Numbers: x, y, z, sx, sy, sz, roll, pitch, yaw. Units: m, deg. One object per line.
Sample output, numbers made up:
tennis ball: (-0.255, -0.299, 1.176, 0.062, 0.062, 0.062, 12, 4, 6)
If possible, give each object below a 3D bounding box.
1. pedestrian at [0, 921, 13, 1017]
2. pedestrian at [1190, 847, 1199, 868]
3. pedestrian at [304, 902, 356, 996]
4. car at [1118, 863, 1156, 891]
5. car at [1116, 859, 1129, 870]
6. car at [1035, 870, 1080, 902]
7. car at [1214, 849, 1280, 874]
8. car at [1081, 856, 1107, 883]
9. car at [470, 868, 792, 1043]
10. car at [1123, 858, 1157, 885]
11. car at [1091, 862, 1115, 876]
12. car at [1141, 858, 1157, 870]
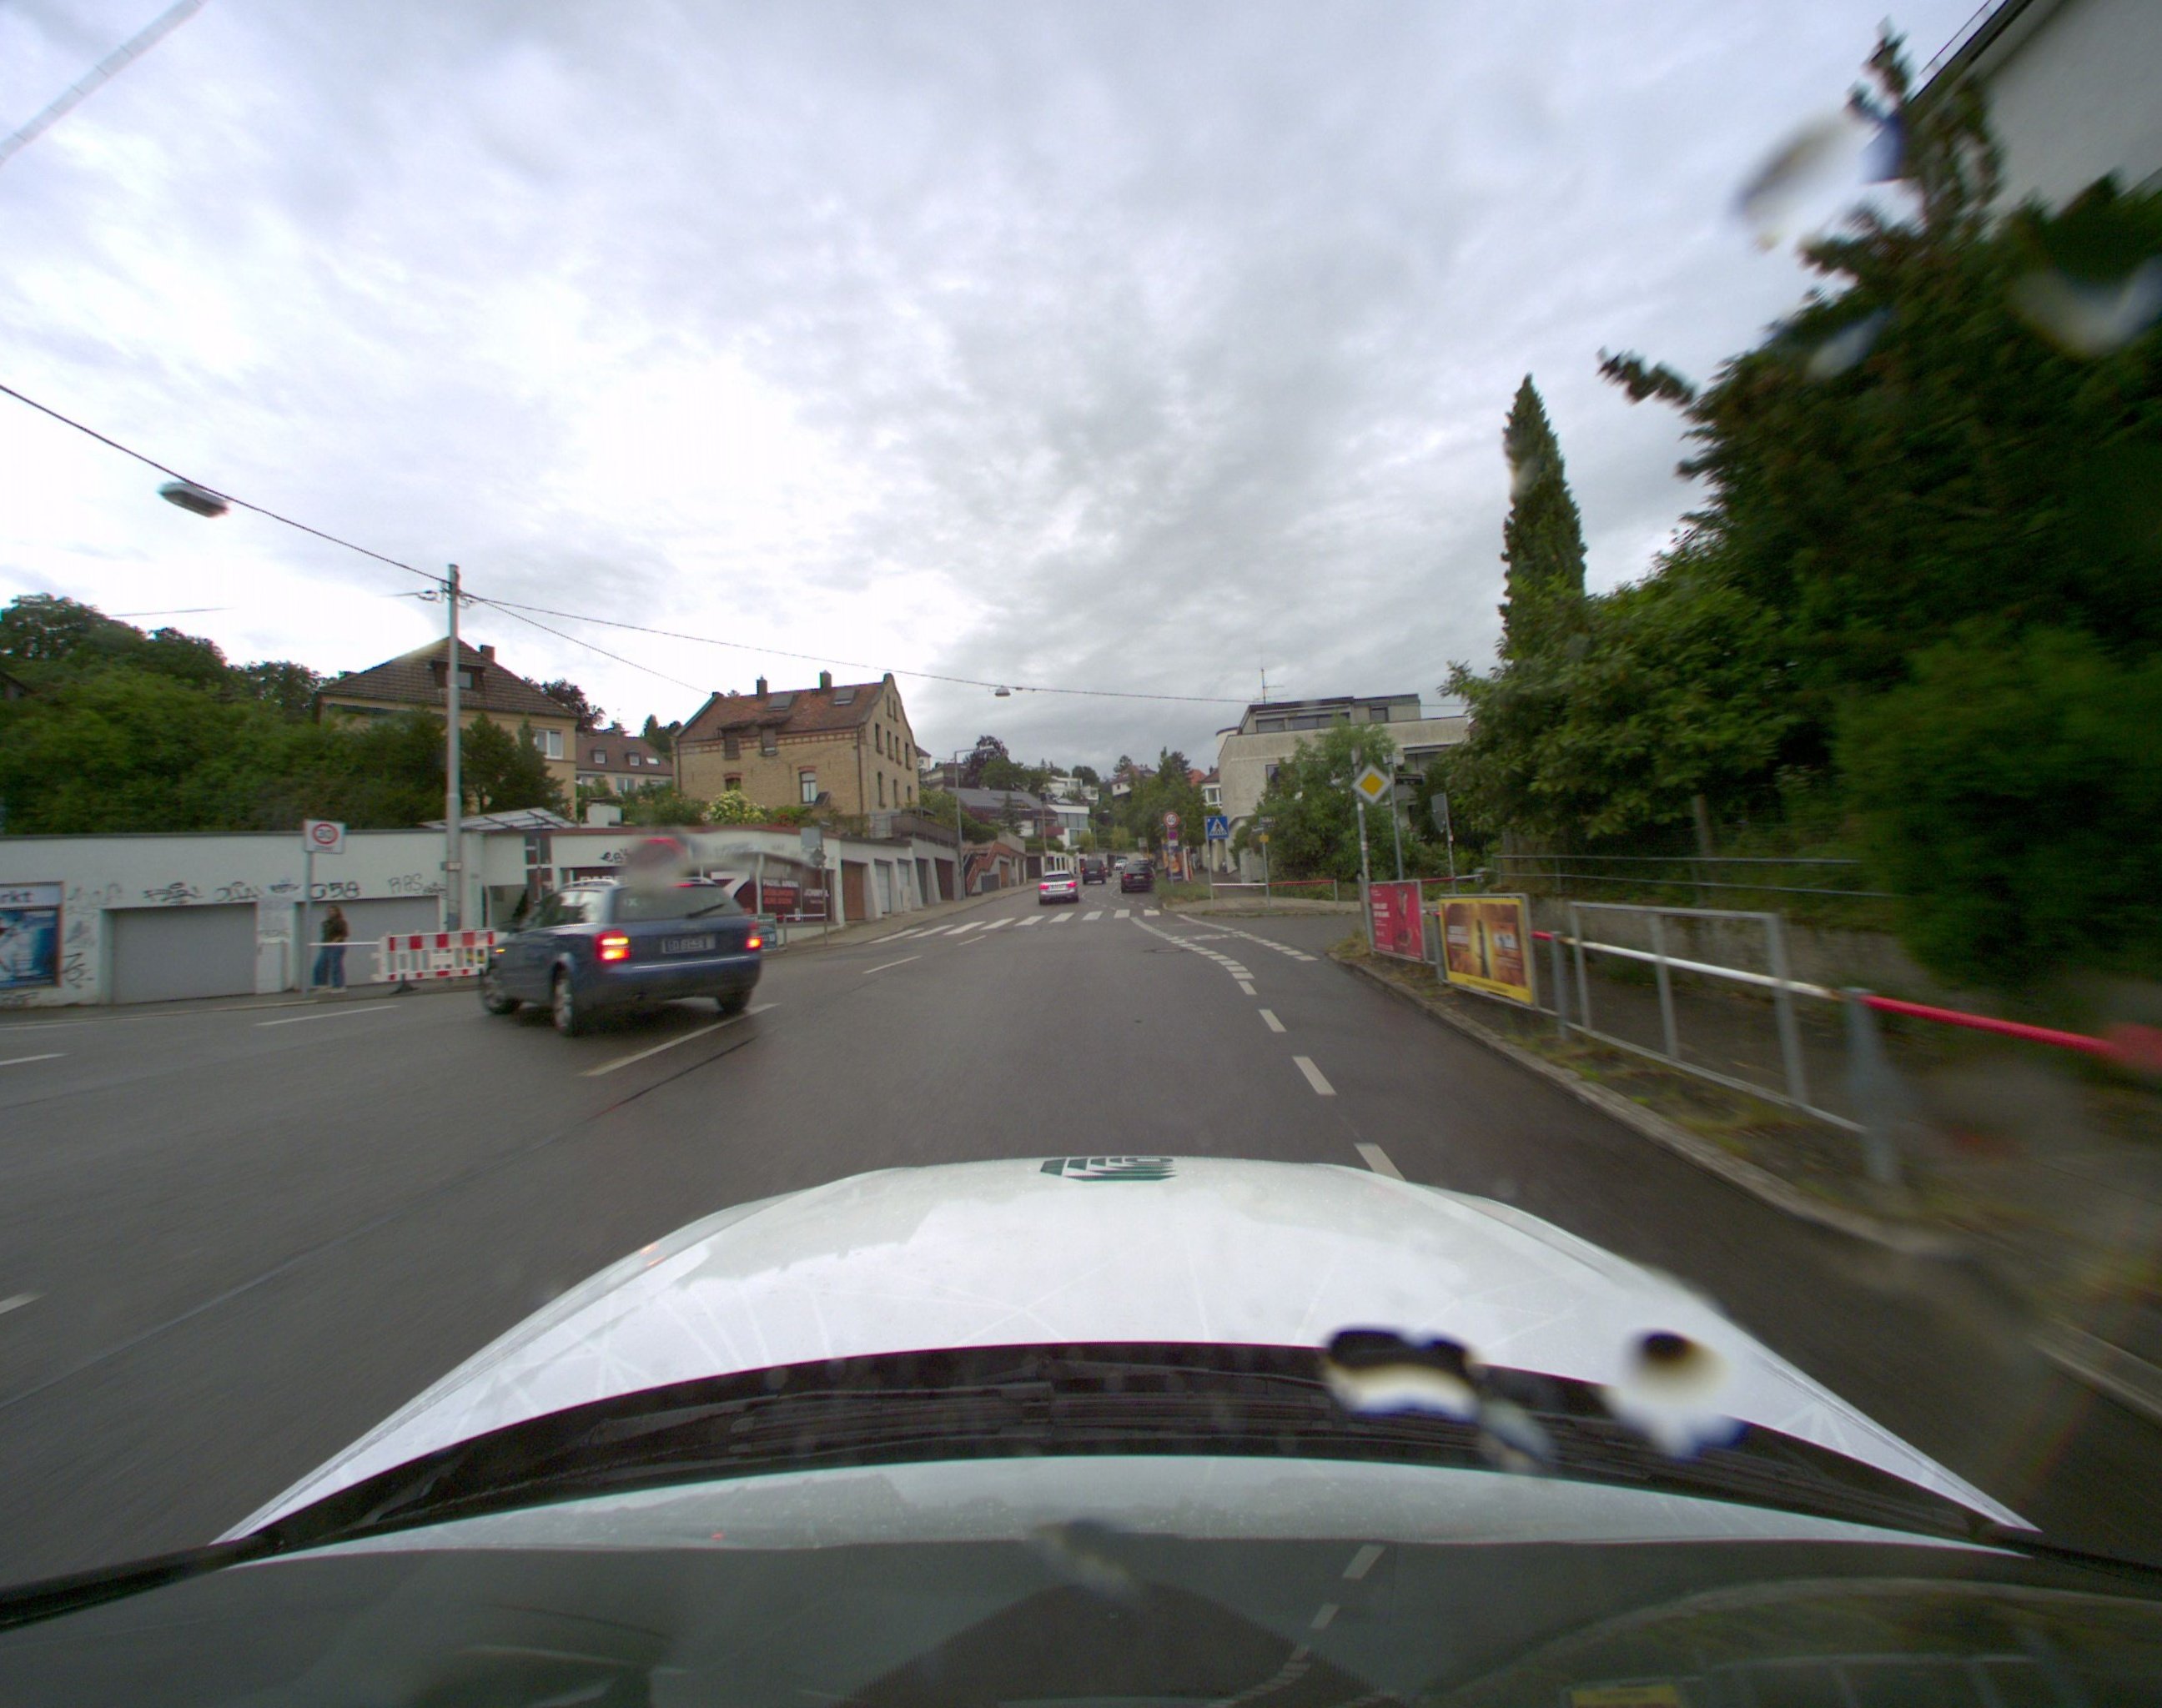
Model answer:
pedestrian: (-20.939, 2.204, 15.318, 0.707, 1.806, 0.802, -1, -2, -23)
pedestrian: (9.838, 0.305, 70.511, 0.636, 1.795, 0.745, -3, -1, 1)
pedestrian: (-14.310, 1.802, 15.521, 0.618, 1.689, 0.588, -6, -2, 39)
car: (2.976, 1.205, 44.264, 1.765, 1.377, 4.349, -3, -1, 1)
car: (6.217, 1.560, 122.664, 1.719, 1.606, 3.554, -2, -1, 6)
car: (-1.135, 1.451, 37.366, 1.809, 1.361, 3.991, -1, -2, -6)
car: (10.761, 0.483, 52.852, 3.954, 1.415, 1.733, -3, -1, 19)
car: (0.993, 1.135, 61.285, 1.817, 1.819, 4.001, -3, -1, 2)
car: (-5.056, 0.987, 8.903, 4.029, 1.439, 1.828, -5, -3, 42)
car: (3.532, 1.033, 49.408, 1.710, 1.450, 3.832, -3, -1, 0)
car: (2.166, 1.453, 80.244, 1.813, 1.296, 4.010, -3, -1, 9)
car: (7.494, 1.067, 89.971, 1.460, 1.254, 3.590, -3, -1, 8)
